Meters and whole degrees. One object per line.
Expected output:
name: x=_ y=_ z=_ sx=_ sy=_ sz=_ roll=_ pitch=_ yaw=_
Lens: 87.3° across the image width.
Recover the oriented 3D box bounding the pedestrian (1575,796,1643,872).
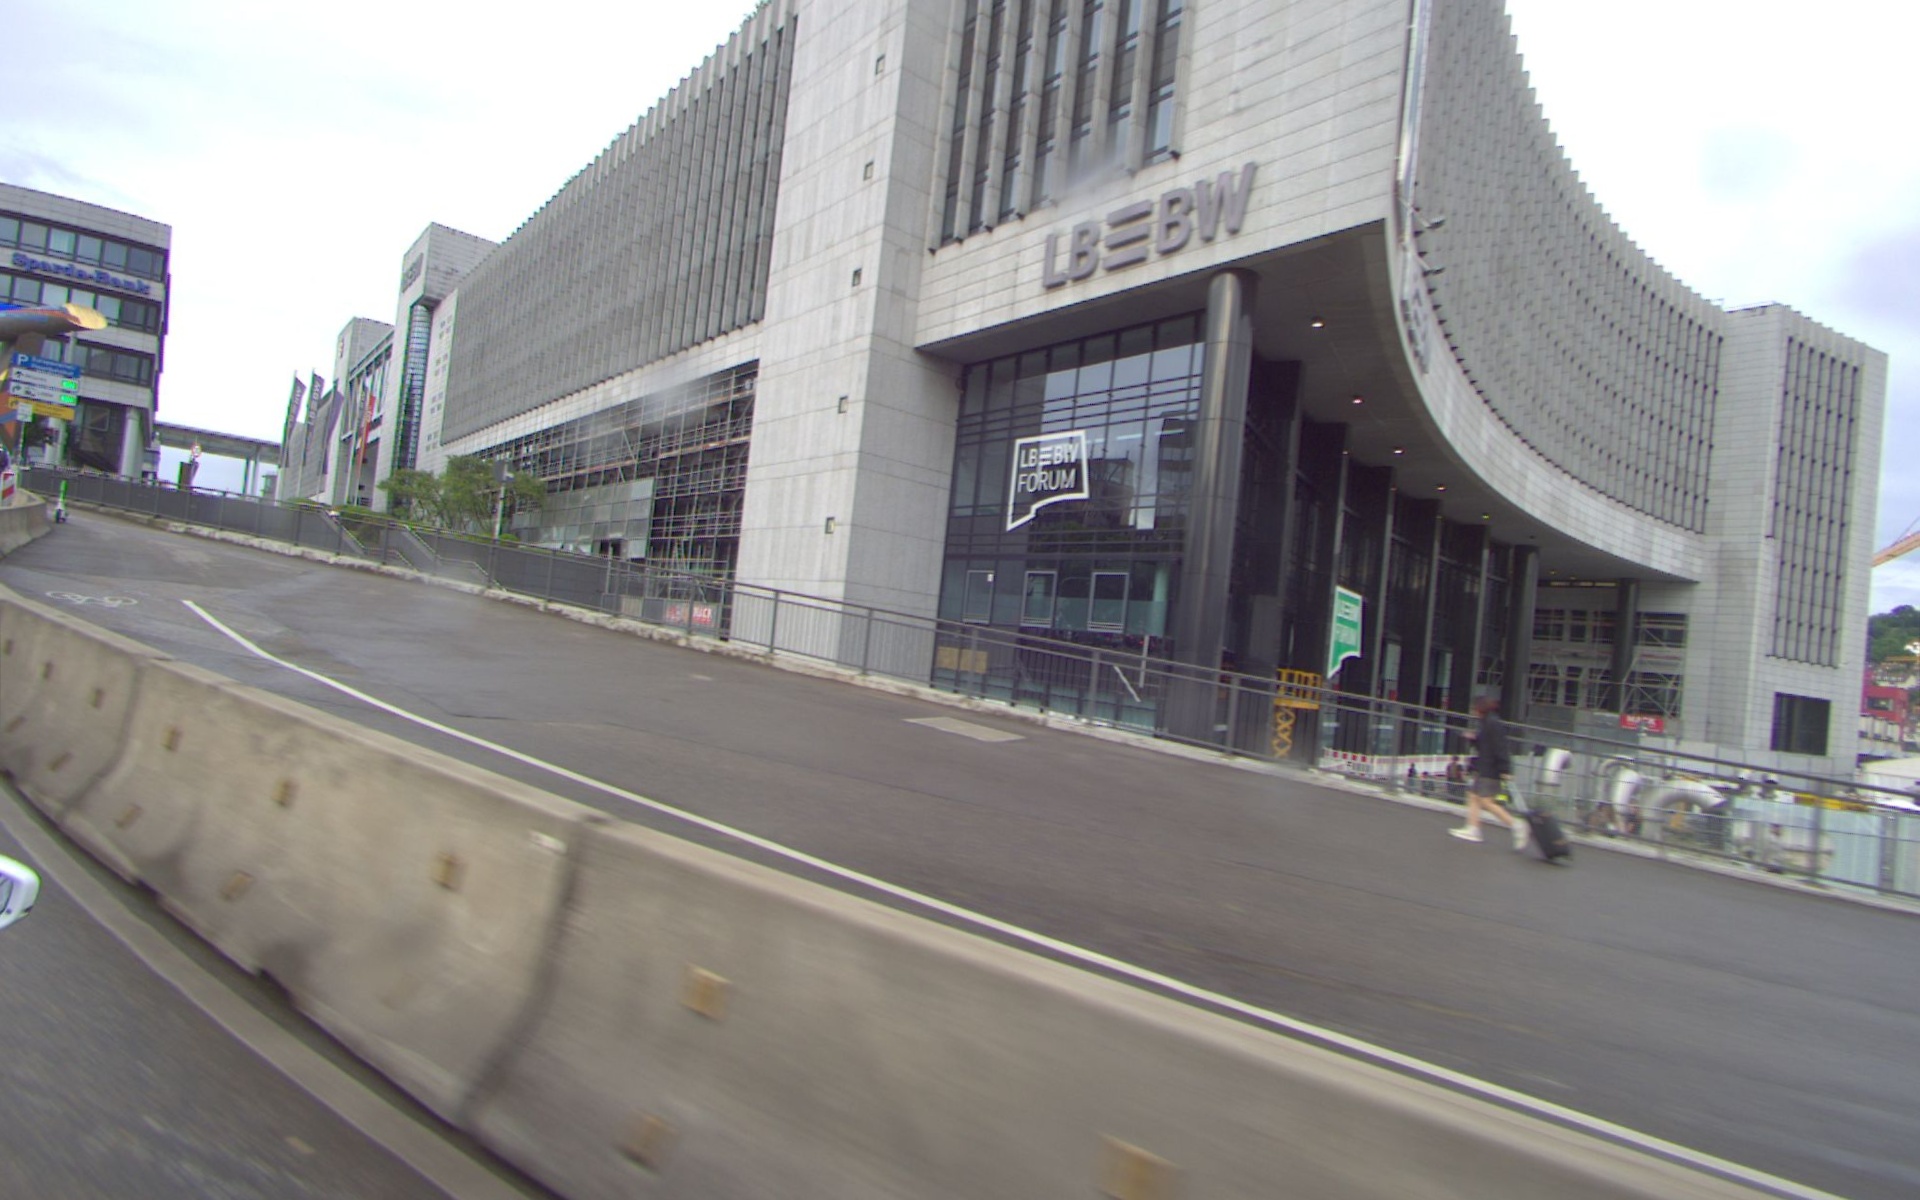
pedestrian: x=16.206 y=5.833 z=25.130 sx=0.860 sy=1.656 sz=1.001 roll=7 pitch=-1 yaw=-30

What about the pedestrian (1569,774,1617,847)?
pedestrian: x=17.635 y=5.861 z=28.030 sx=0.742 sy=1.837 sz=0.641 roll=7 pitch=-1 yaw=0

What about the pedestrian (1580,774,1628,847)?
pedestrian: x=15.540 y=5.084 z=24.289 sx=0.698 sy=1.634 sz=0.562 roll=7 pitch=-1 yaw=-27

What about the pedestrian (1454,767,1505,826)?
pedestrian: x=16.642 y=6.288 z=32.211 sx=0.858 sy=1.656 sz=1.002 roll=7 pitch=-1 yaw=-25

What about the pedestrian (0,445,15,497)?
pedestrian: x=-33.238 y=-4.471 z=34.593 sx=0.829 sy=1.731 sz=0.731 roll=6 pitch=-1 yaw=30

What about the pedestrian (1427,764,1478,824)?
pedestrian: x=15.569 y=6.140 z=31.833 sx=0.855 sy=1.656 sz=1.006 roll=7 pitch=-1 yaw=-15

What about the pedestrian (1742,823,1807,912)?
pedestrian: x=17.274 y=5.662 z=21.356 sx=0.578 sy=1.656 sz=0.751 roll=7 pitch=-1 yaw=-11

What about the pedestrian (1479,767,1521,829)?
pedestrian: x=16.086 y=5.884 z=29.979 sx=0.727 sy=1.656 sz=0.654 roll=7 pitch=-1 yaw=0

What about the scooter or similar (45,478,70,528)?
scooter or similar: x=-22.562 y=-2.431 z=25.150 sx=0.348 sy=1.176 sz=0.566 roll=8 pitch=-1 yaw=-44

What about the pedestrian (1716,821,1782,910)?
pedestrian: x=16.626 y=5.579 z=21.221 sx=0.594 sy=1.656 sz=0.770 roll=7 pitch=-1 yaw=-11

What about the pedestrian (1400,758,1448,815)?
pedestrian: x=15.369 y=6.177 z=33.334 sx=0.854 sy=1.656 sz=1.007 roll=7 pitch=-1 yaw=-10

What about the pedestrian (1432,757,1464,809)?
pedestrian: x=17.558 y=6.561 z=36.177 sx=0.854 sy=1.656 sz=1.007 roll=6 pitch=-1 yaw=28

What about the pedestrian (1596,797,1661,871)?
pedestrian: x=17.109 y=5.987 z=25.760 sx=0.860 sy=1.656 sz=1.001 roll=7 pitch=-1 yaw=-30

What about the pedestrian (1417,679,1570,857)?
pedestrian: x=5.641 y=1.756 z=10.674 sx=0.724 sy=1.671 sz=1.052 roll=8 pitch=-1 yaw=-31
